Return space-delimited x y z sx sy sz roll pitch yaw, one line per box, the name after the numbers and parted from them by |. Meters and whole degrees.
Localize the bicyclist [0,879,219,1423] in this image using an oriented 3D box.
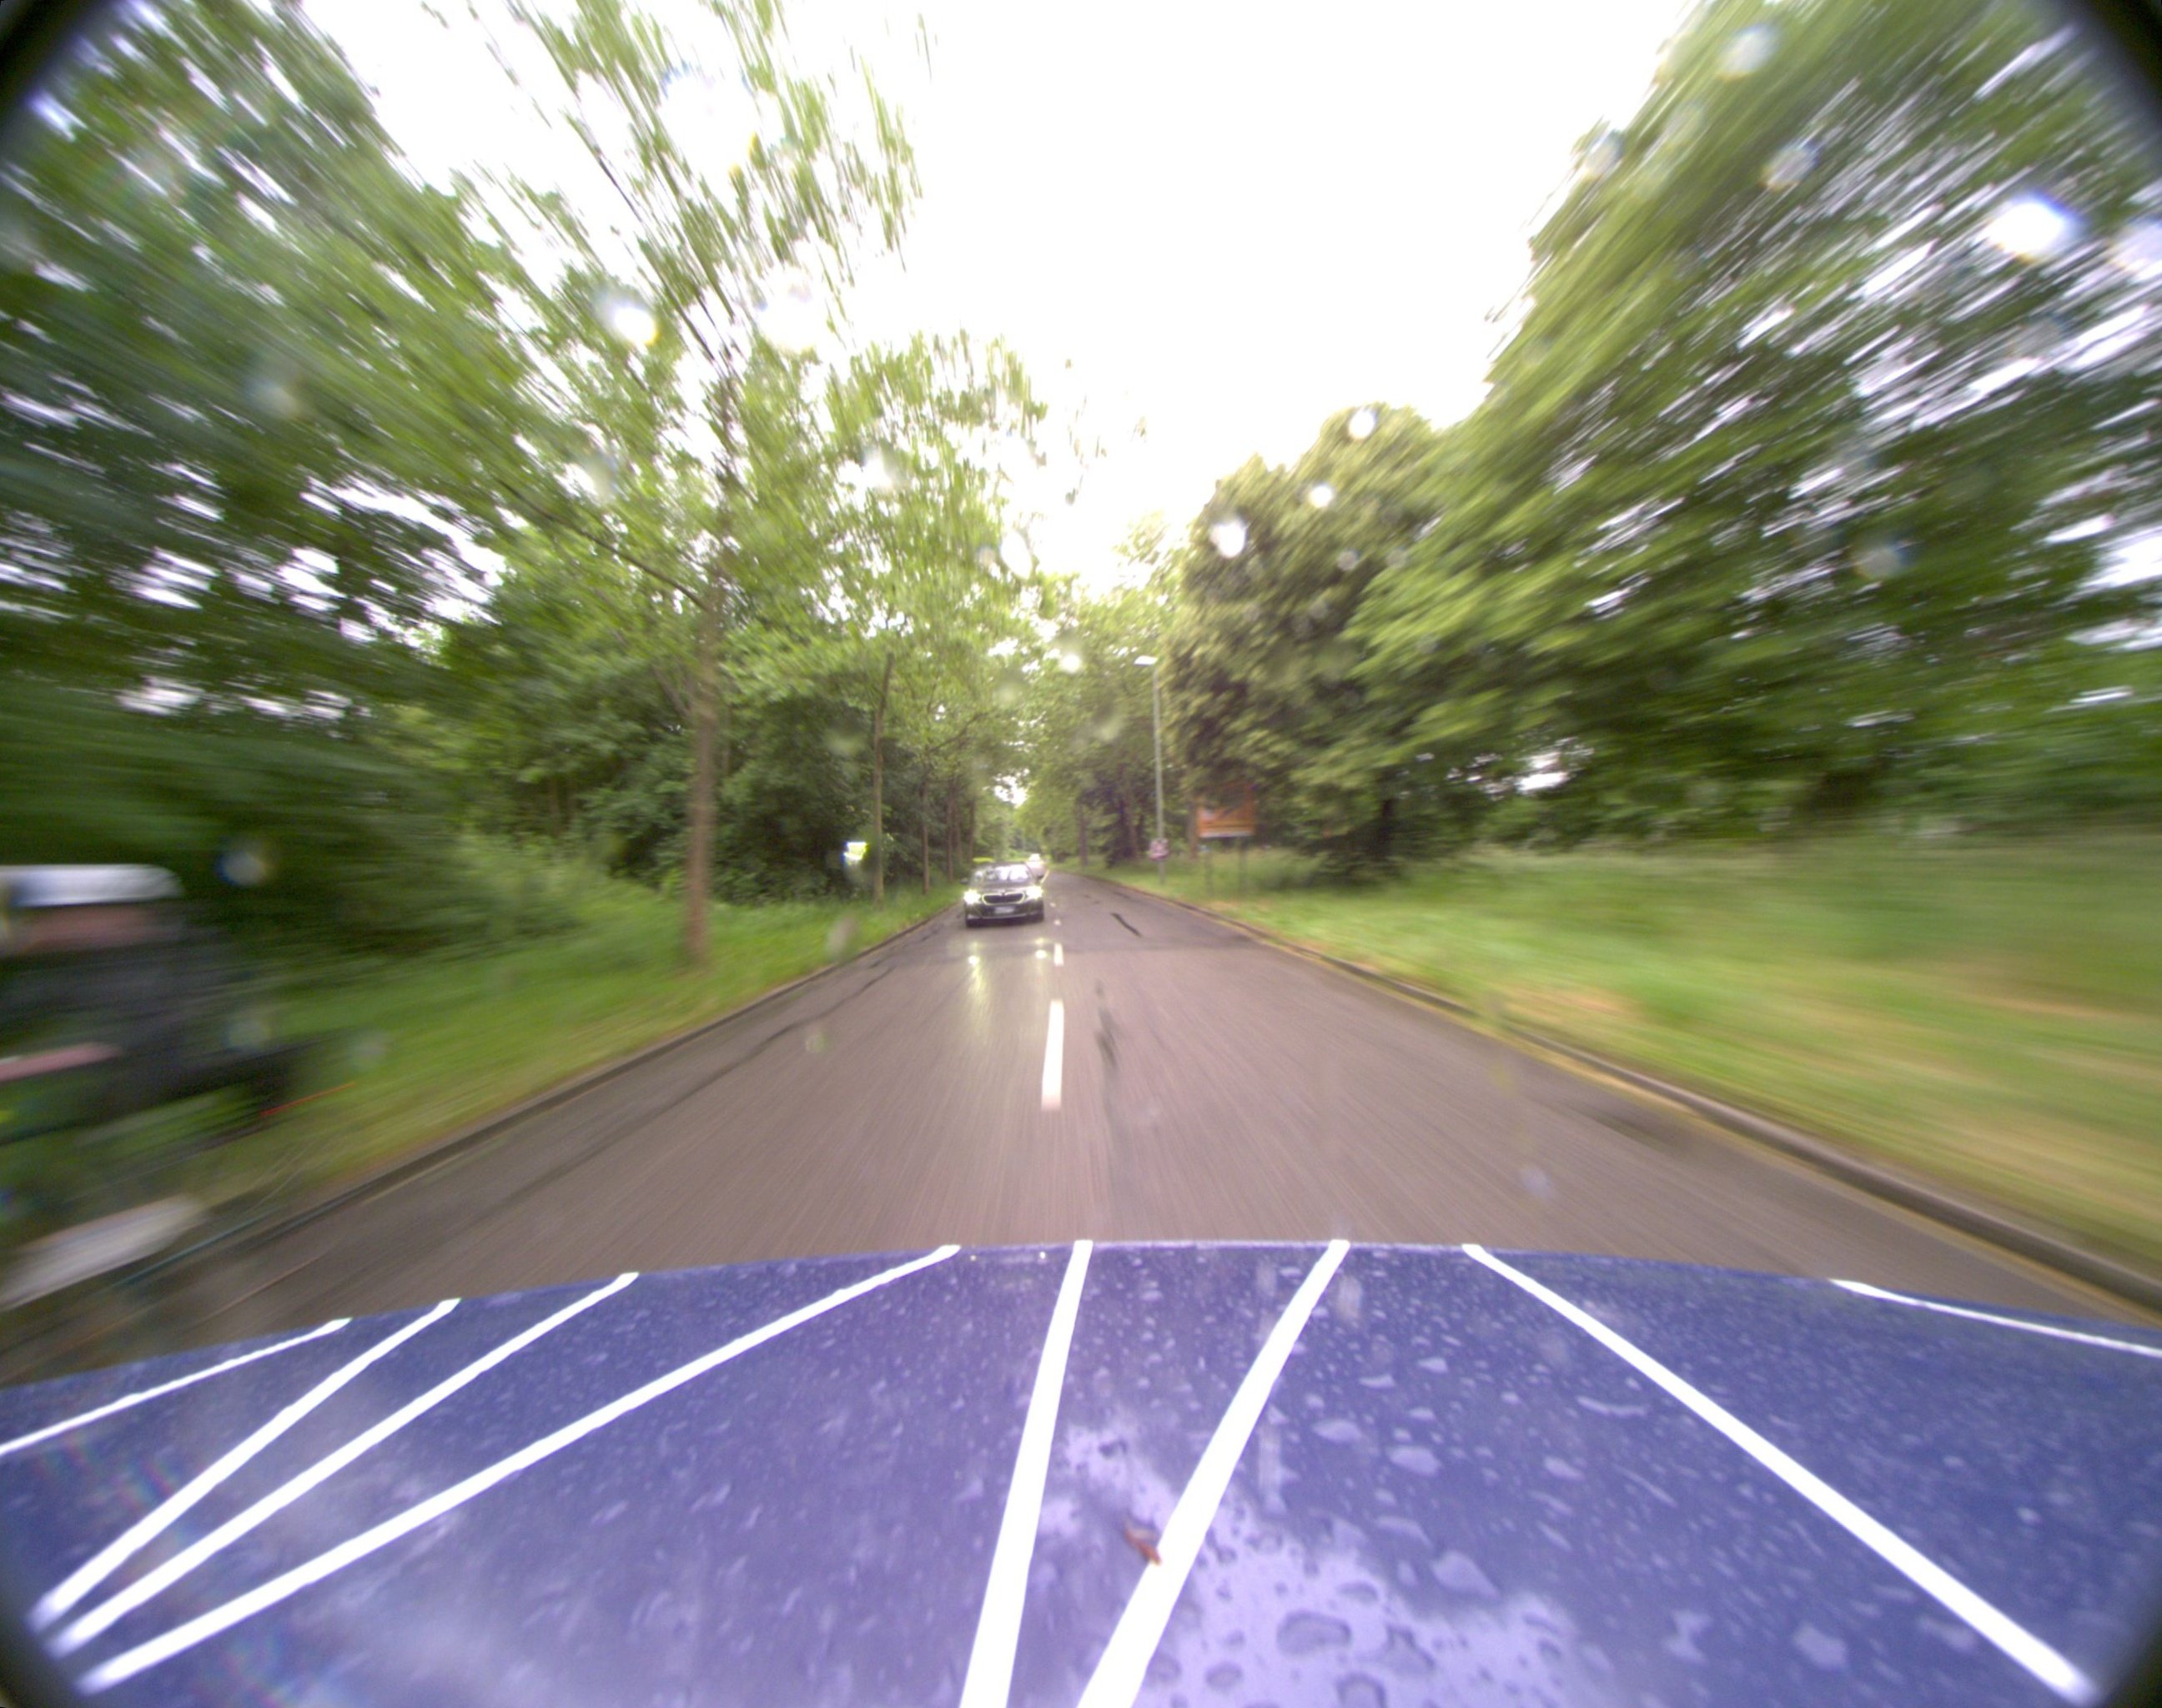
-3.379 0.854 2.214 0.697 1.489 0.800 -3 1 5 | bicyclist

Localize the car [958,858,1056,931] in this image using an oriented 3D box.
-1.765 0.948 19.827 1.843 1.486 4.901 -3 1 2 | car

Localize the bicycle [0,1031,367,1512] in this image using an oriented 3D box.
-3.342 1.330 2.283 0.453 1.127 1.833 -4 1 5 | bicycle
